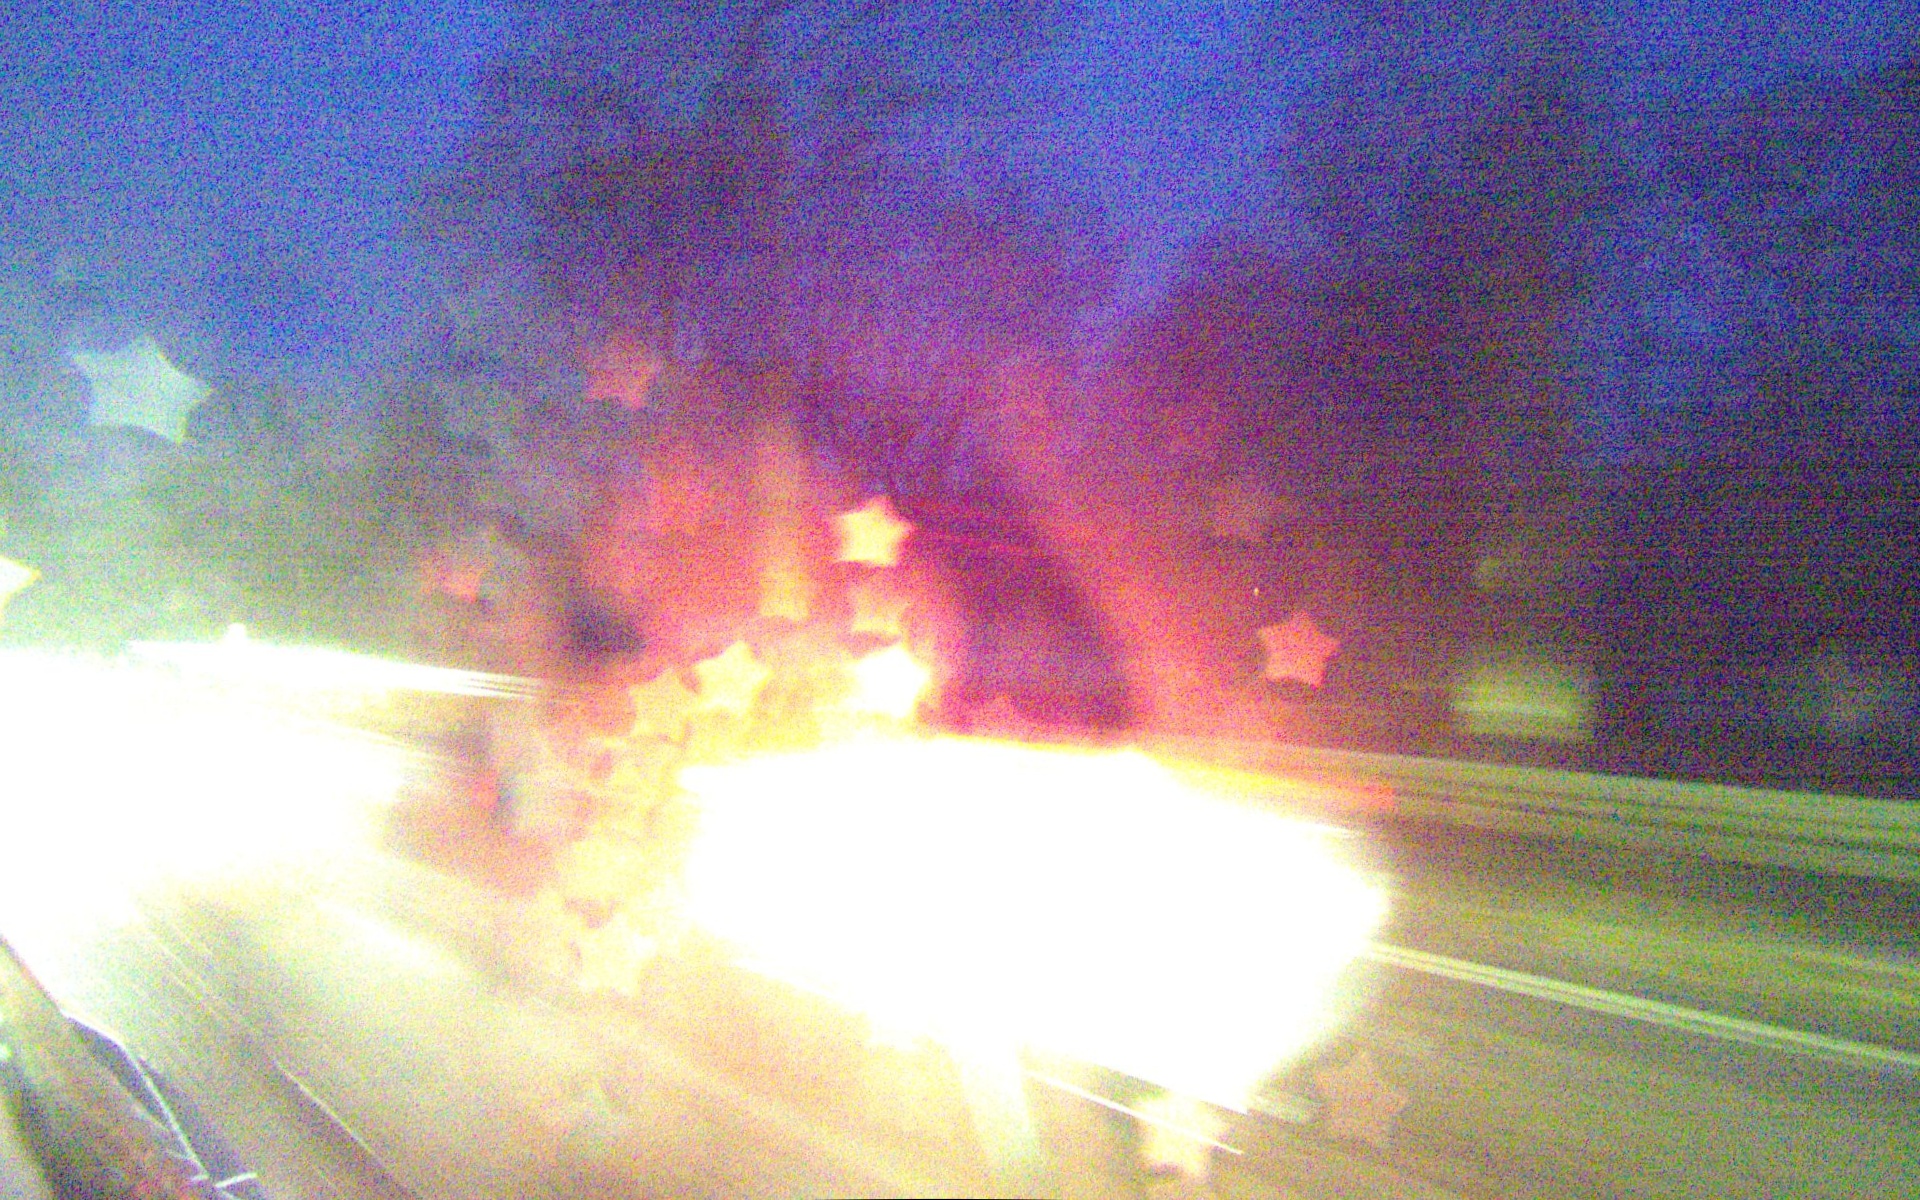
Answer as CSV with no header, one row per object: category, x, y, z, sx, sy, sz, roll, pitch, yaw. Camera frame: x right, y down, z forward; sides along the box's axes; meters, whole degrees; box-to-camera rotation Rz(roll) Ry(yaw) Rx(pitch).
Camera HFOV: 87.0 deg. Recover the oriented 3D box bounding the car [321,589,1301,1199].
car,-0.898,0.753,4.202,3.990,1.500,1.833,-1,0,40
